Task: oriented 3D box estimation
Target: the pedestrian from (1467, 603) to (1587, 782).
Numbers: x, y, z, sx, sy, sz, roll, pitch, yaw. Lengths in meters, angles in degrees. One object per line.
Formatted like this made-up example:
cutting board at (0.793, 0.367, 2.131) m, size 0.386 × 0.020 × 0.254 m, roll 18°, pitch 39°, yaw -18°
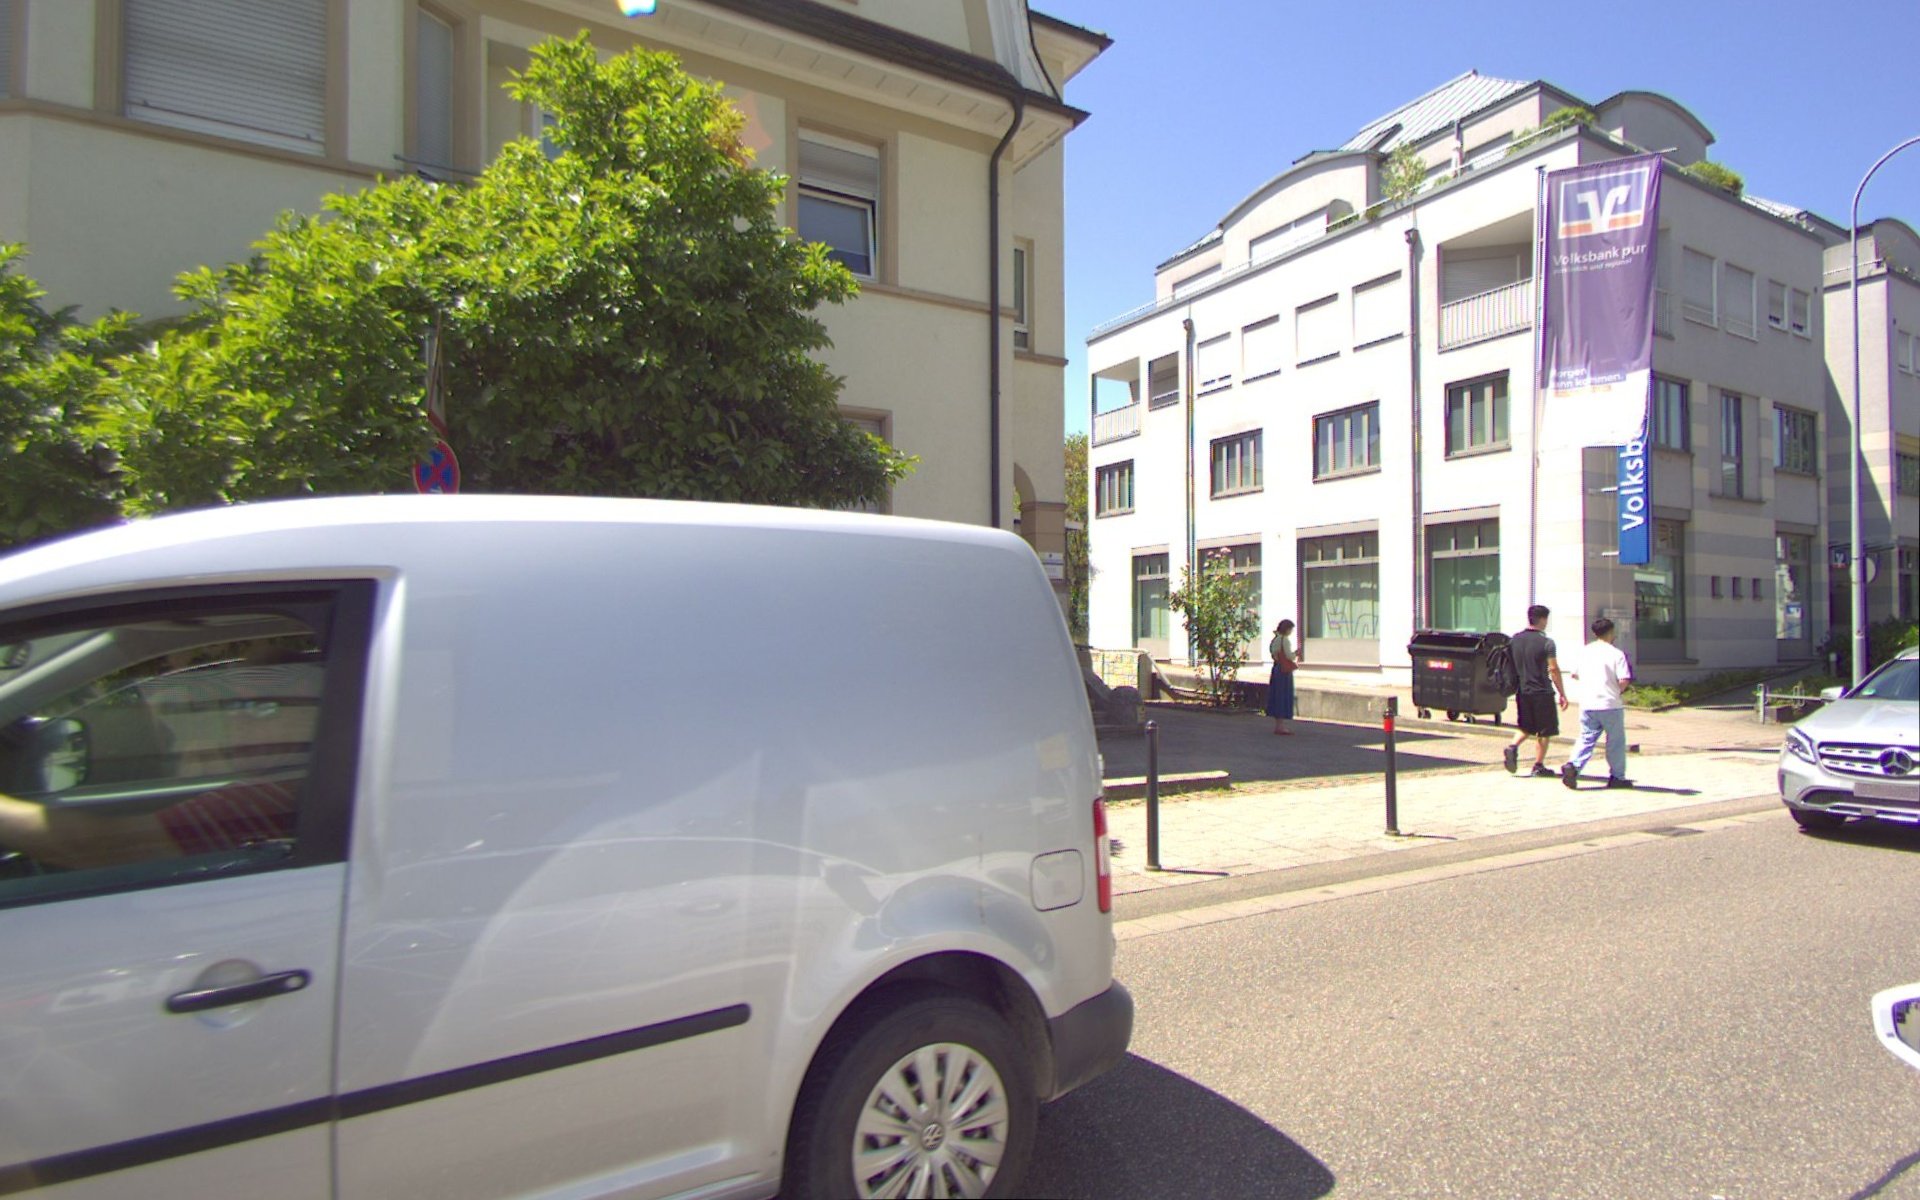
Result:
pedestrian at (6.032, 0.948, 10.691) m, size 0.940 × 1.794 × 0.744 m, roll 1°, pitch -1°, yaw -30°

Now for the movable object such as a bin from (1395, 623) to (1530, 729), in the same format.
movable object such as a bin at (7.830, 1.151, 15.698) m, size 1.279 × 1.508 × 1.380 m, roll 1°, pitch 1°, yaw -29°

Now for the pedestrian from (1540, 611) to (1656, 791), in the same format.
pedestrian at (6.371, 0.970, 10.034) m, size 0.893 × 1.699 × 0.618 m, roll 1°, pitch 0°, yaw -30°

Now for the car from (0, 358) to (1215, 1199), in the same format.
car at (-1.544, 0.612, 2.410) m, size 4.182 × 1.849 × 1.694 m, roll 1°, pitch -4°, yaw -30°

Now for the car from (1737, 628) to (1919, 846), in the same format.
car at (8.392, 1.016, 8.232) m, size 3.984 × 1.530 × 1.821 m, roll 1°, pitch -3°, yaw -30°

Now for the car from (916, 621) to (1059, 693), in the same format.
car at (0.574, 1.328, 24.439) m, size 1.772 × 1.600 × 3.851 m, roll 2°, pitch -2°, yaw -29°

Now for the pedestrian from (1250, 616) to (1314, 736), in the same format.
pedestrian at (4.722, 1.097, 14.731) m, size 0.726 × 1.696 × 0.537 m, roll 1°, pitch -2°, yaw -30°
